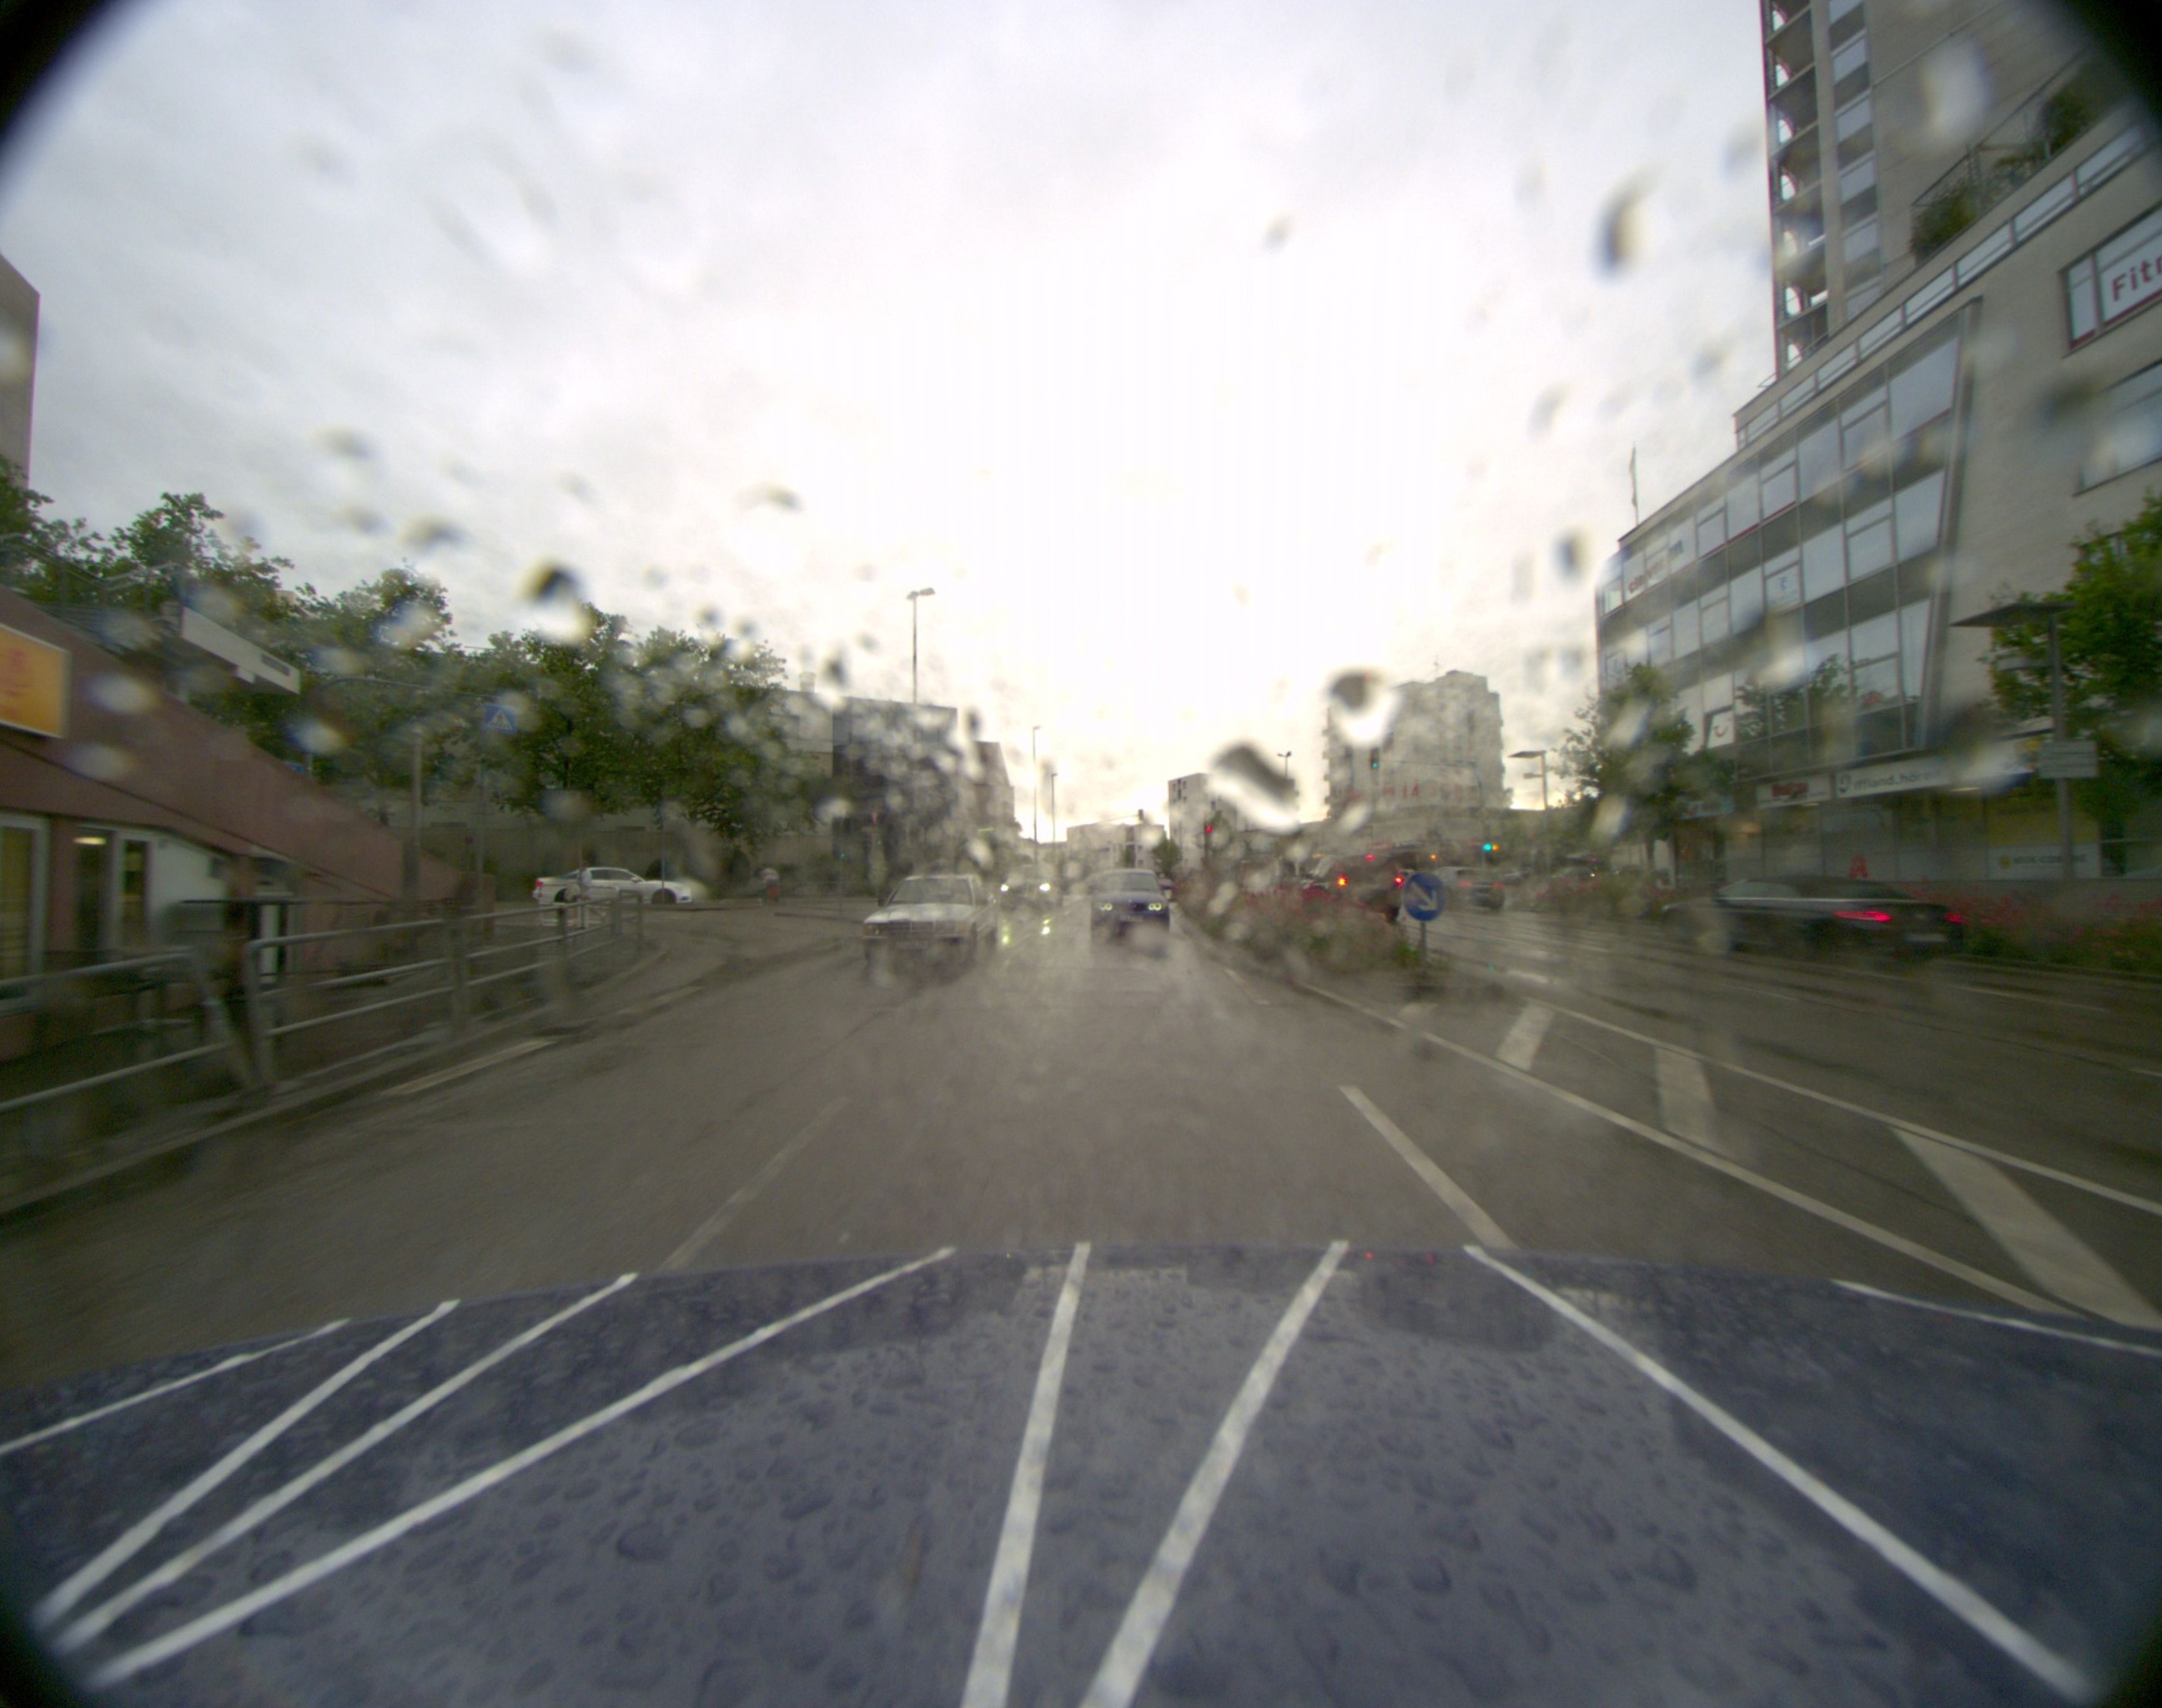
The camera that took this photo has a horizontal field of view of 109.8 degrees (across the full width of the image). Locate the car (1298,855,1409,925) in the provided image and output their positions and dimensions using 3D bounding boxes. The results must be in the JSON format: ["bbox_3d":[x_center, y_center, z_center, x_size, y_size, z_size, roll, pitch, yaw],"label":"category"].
[{"bbox_3d":[7.616,0.941,21.667,1.867,1.780,4.001,1,0,3],"label":"car"}]

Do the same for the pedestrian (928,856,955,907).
[{"bbox_3d":[-5.108,0.998,27.908,0.687,1.793,0.797,2,1,10],"label":"pedestrian"}]

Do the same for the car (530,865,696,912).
[{"bbox_3d":[-16.704,1.199,27.455,4.938,1.505,1.847,0,0,-27],"label":"car"}]

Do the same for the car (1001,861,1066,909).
[{"bbox_3d":[-1.704,1.123,28.877,2.058,1.637,4.481,-1,0,2],"label":"car"}]

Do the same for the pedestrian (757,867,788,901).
[{"bbox_3d":[-12.932,1.236,31.840,0.924,1.392,1.210,-1,0,-35],"label":"pedestrian"}]

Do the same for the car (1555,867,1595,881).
[{"bbox_3d":[44.680,1.784,68.733,3.074,1.185,1.444,0,0,-18],"label":"car"}]

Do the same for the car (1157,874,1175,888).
[{"bbox_3d":[10.527,3.350,94.414,1.750,1.533,4.422,0,0,0],"label":"car"}]

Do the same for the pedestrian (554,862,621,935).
[{"bbox_3d":[-12.701,1.109,19.585,0.714,1.818,1.266,0,0,35],"label":"pedestrian"}]

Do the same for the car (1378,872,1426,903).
[{"bbox_3d":[18.304,1.863,43.225,1.680,1.617,4.208,1,0,35],"label":"car"}]

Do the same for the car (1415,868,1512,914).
[{"bbox_3d":[14.288,1.331,28.666,1.920,1.539,4.004,1,0,5],"label":"car"}]

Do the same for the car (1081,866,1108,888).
[{"bbox_3d":[1.006,1.684,56.311,1.854,1.490,3.906,0,0,3],"label":"car"}]

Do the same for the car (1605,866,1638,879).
[{"bbox_3d":[50.449,1.749,70.917,2.574,1.127,1.292,0,0,-18],"label":"car"}]

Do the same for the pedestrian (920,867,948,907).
[{"bbox_3d":[-5.232,1.155,27.061,0.687,1.371,0.772,2,1,10],"label":"pedestrian"}]

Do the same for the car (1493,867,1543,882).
[{"bbox_3d":[35.972,1.674,62.495,3.682,1.130,1.421,0,0,-16],"label":"car"}]

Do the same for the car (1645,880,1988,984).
[{"bbox_3d":[12.459,1.212,13.423,1.635,1.338,4.706,1,0,3],"label":"car"}]

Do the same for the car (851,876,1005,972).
[{"bbox_3d":[-2.424,1.077,13.031,1.661,1.300,3.996,0,0,3],"label":"car"}]

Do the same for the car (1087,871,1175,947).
[{"bbox_3d":[1.067,1.126,16.771,1.688,1.373,3.794,-2,0,3],"label":"car"}]
